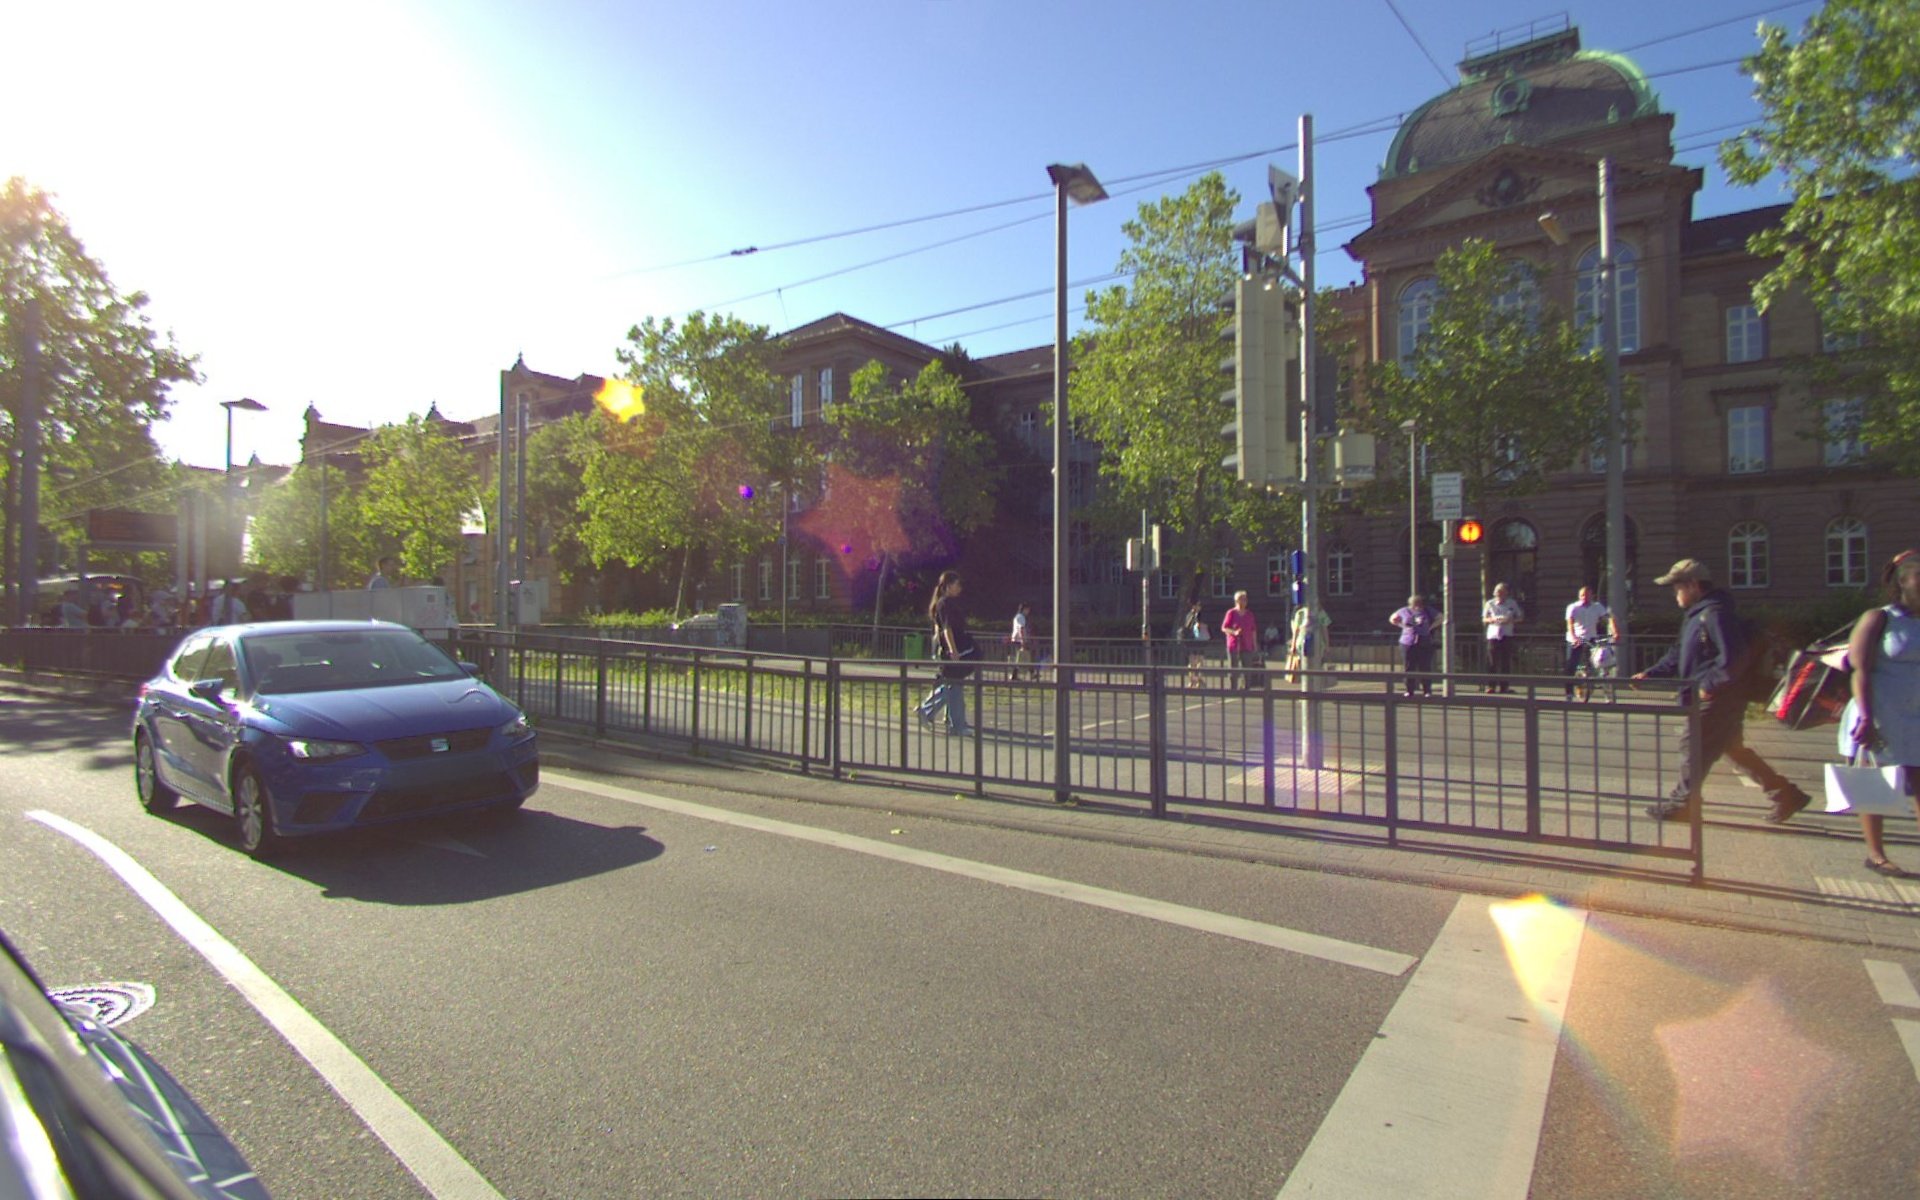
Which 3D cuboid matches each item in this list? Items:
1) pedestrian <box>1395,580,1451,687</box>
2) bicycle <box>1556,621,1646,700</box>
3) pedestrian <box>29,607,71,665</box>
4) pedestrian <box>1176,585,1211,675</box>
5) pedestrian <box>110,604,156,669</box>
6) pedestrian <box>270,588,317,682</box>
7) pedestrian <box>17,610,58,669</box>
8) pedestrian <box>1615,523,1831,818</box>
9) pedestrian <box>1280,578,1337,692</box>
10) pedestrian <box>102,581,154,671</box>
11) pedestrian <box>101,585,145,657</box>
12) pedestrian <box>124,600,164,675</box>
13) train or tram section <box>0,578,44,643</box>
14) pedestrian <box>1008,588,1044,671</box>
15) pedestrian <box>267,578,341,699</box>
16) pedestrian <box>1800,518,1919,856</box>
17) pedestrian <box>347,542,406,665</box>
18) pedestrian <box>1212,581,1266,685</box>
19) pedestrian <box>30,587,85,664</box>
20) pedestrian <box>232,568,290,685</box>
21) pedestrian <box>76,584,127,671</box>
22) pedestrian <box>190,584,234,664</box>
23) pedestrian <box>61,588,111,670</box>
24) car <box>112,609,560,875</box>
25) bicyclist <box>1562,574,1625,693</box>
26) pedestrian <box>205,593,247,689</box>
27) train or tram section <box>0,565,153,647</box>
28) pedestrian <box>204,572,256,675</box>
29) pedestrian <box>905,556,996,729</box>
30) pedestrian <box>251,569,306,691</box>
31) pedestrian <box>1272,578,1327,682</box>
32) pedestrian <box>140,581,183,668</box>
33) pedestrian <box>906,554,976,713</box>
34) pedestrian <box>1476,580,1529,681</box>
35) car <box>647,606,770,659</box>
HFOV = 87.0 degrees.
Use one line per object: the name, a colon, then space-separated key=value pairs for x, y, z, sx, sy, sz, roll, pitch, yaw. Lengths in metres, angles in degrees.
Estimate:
pedestrian: x=7.158 y=0.514 z=15.655 sx=0.702 sy=1.594 sz=0.614 roll=-1 pitch=-2 yaw=31
bicycle: x=9.002 y=0.820 z=14.282 sx=0.831 sy=0.994 sz=1.657 roll=-1 pitch=0 yaw=24
pedestrian: x=-19.885 y=0.783 z=22.124 sx=0.603 sy=1.256 sz=0.529 roll=-1 pitch=-2 yaw=34
pedestrian: x=4.473 y=0.574 z=19.431 sx=0.626 sy=1.677 sz=0.707 roll=-1 pitch=-1 yaw=13
pedestrian: x=-15.567 y=0.686 z=19.057 sx=0.530 sy=1.201 sz=0.540 roll=-1 pitch=-2 yaw=35
pedestrian: x=-12.946 y=0.673 z=19.661 sx=0.609 sy=1.783 sz=0.549 roll=-1 pitch=-2 yaw=32
pedestrian: x=-20.813 y=0.880 z=22.834 sx=0.602 sy=1.309 sz=0.530 roll=-1 pitch=-2 yaw=32
pedestrian: x=4.574 y=0.395 z=6.138 sx=0.940 sy=1.641 sz=0.622 roll=-1 pitch=0 yaw=30
pedestrian: x=5.349 y=0.534 z=15.537 sx=0.702 sy=1.692 sz=0.614 roll=-1 pitch=-2 yaw=31
pedestrian: x=-16.266 y=0.504 z=19.781 sx=0.570 sy=1.709 sz=0.654 roll=-1 pitch=-2 yaw=37
pedestrian: x=-19.576 y=0.490 z=23.671 sx=0.621 sy=1.662 sz=0.614 roll=-1 pitch=-2 yaw=32
pedestrian: x=-14.660 y=0.667 z=18.180 sx=0.506 sy=1.326 sz=0.412 roll=-1 pitch=-2 yaw=34
train or tram section: x=-58.759 y=0.745 z=60.098 sx=18.239 sy=3.460 sz=2.845 roll=-1 pitch=0 yaw=36
pedestrian: x=1.405 y=0.621 z=21.534 sx=0.543 sy=1.741 sz=0.519 roll=-1 pitch=-2 yaw=39
pedestrian: x=-9.156 y=0.526 z=14.131 sx=0.639 sy=1.631 sz=0.635 roll=2 pitch=0 yaw=32
pedestrian: x=4.622 y=0.407 z=4.969 sx=0.645 sy=1.569 sz=0.626 roll=-1 pitch=-2 yaw=31
pedestrian: x=-8.508 y=0.059 z=14.751 sx=0.538 sy=1.747 sz=0.543 roll=-1 pitch=-2 yaw=32
pedestrian: x=4.622 y=0.540 z=16.747 sx=0.707 sy=1.662 sz=0.626 roll=-1 pitch=-2 yaw=31
pedestrian: x=-21.244 y=0.608 z=23.819 sx=0.721 sy=1.766 sz=0.769 roll=-1 pitch=-2 yaw=32
pedestrian: x=-10.626 y=0.400 z=15.389 sx=0.538 sy=1.747 sz=0.543 roll=-1 pitch=-2 yaw=32
pedestrian: x=-17.147 y=0.548 z=20.218 sx=0.570 sy=1.709 sz=0.654 roll=-1 pitch=-2 yaw=37
pedestrian: x=-14.568 y=0.467 z=19.706 sx=0.530 sy=1.530 sz=0.540 roll=-1 pitch=-2 yaw=35
pedestrian: x=-17.933 y=0.586 z=20.760 sx=0.570 sy=1.646 sz=0.654 roll=-1 pitch=-2 yaw=37
car: x=-4.750 y=0.823 z=7.487 sx=3.872 sy=1.426 sz=1.685 roll=-1 pitch=0 yaw=40
bicyclist: x=9.002 y=0.468 z=14.405 sx=0.655 sy=1.638 sz=0.656 roll=-1 pitch=0 yaw=25
pedestrian: x=-13.376 y=0.740 z=18.450 sx=0.498 sy=1.715 sz=0.613 roll=1 pitch=-2 yaw=-27
train or tram section: x=-44.079 y=0.404 z=49.261 sx=18.178 sy=3.460 sz=2.823 roll=-1 pitch=0 yaw=36
pedestrian: x=-12.390 y=0.399 z=17.176 sx=0.609 sy=1.715 sz=0.501 roll=-1 pitch=-2 yaw=32
pedestrian: x=-0.090 y=0.436 z=10.486 sx=0.743 sy=1.715 sz=0.629 roll=-1 pitch=-2 yaw=26
pedestrian: x=-10.004 y=0.441 z=14.871 sx=0.530 sy=1.747 sz=0.551 roll=0 pitch=-2 yaw=-20
pedestrian: x=5.856 y=0.513 z=17.467 sx=0.699 sy=1.756 sz=0.633 roll=1 pitch=-2 yaw=-43
pedestrian: x=-16.153 y=0.490 z=20.464 sx=0.620 sy=1.721 sz=0.510 roll=-1 pitch=-2 yaw=35
pedestrian: x=-0.207 y=0.373 z=11.331 sx=0.544 sy=1.715 sz=0.604 roll=-1 pitch=-2 yaw=32
pedestrian: x=8.771 y=0.488 z=16.378 sx=0.706 sy=1.573 sz=0.773 roll=-1 pitch=-1 yaw=27
car: x=-8.957 y=1.105 z=35.917 sx=4.220 sy=1.674 sz=1.976 roll=0 pitch=1 yaw=36
